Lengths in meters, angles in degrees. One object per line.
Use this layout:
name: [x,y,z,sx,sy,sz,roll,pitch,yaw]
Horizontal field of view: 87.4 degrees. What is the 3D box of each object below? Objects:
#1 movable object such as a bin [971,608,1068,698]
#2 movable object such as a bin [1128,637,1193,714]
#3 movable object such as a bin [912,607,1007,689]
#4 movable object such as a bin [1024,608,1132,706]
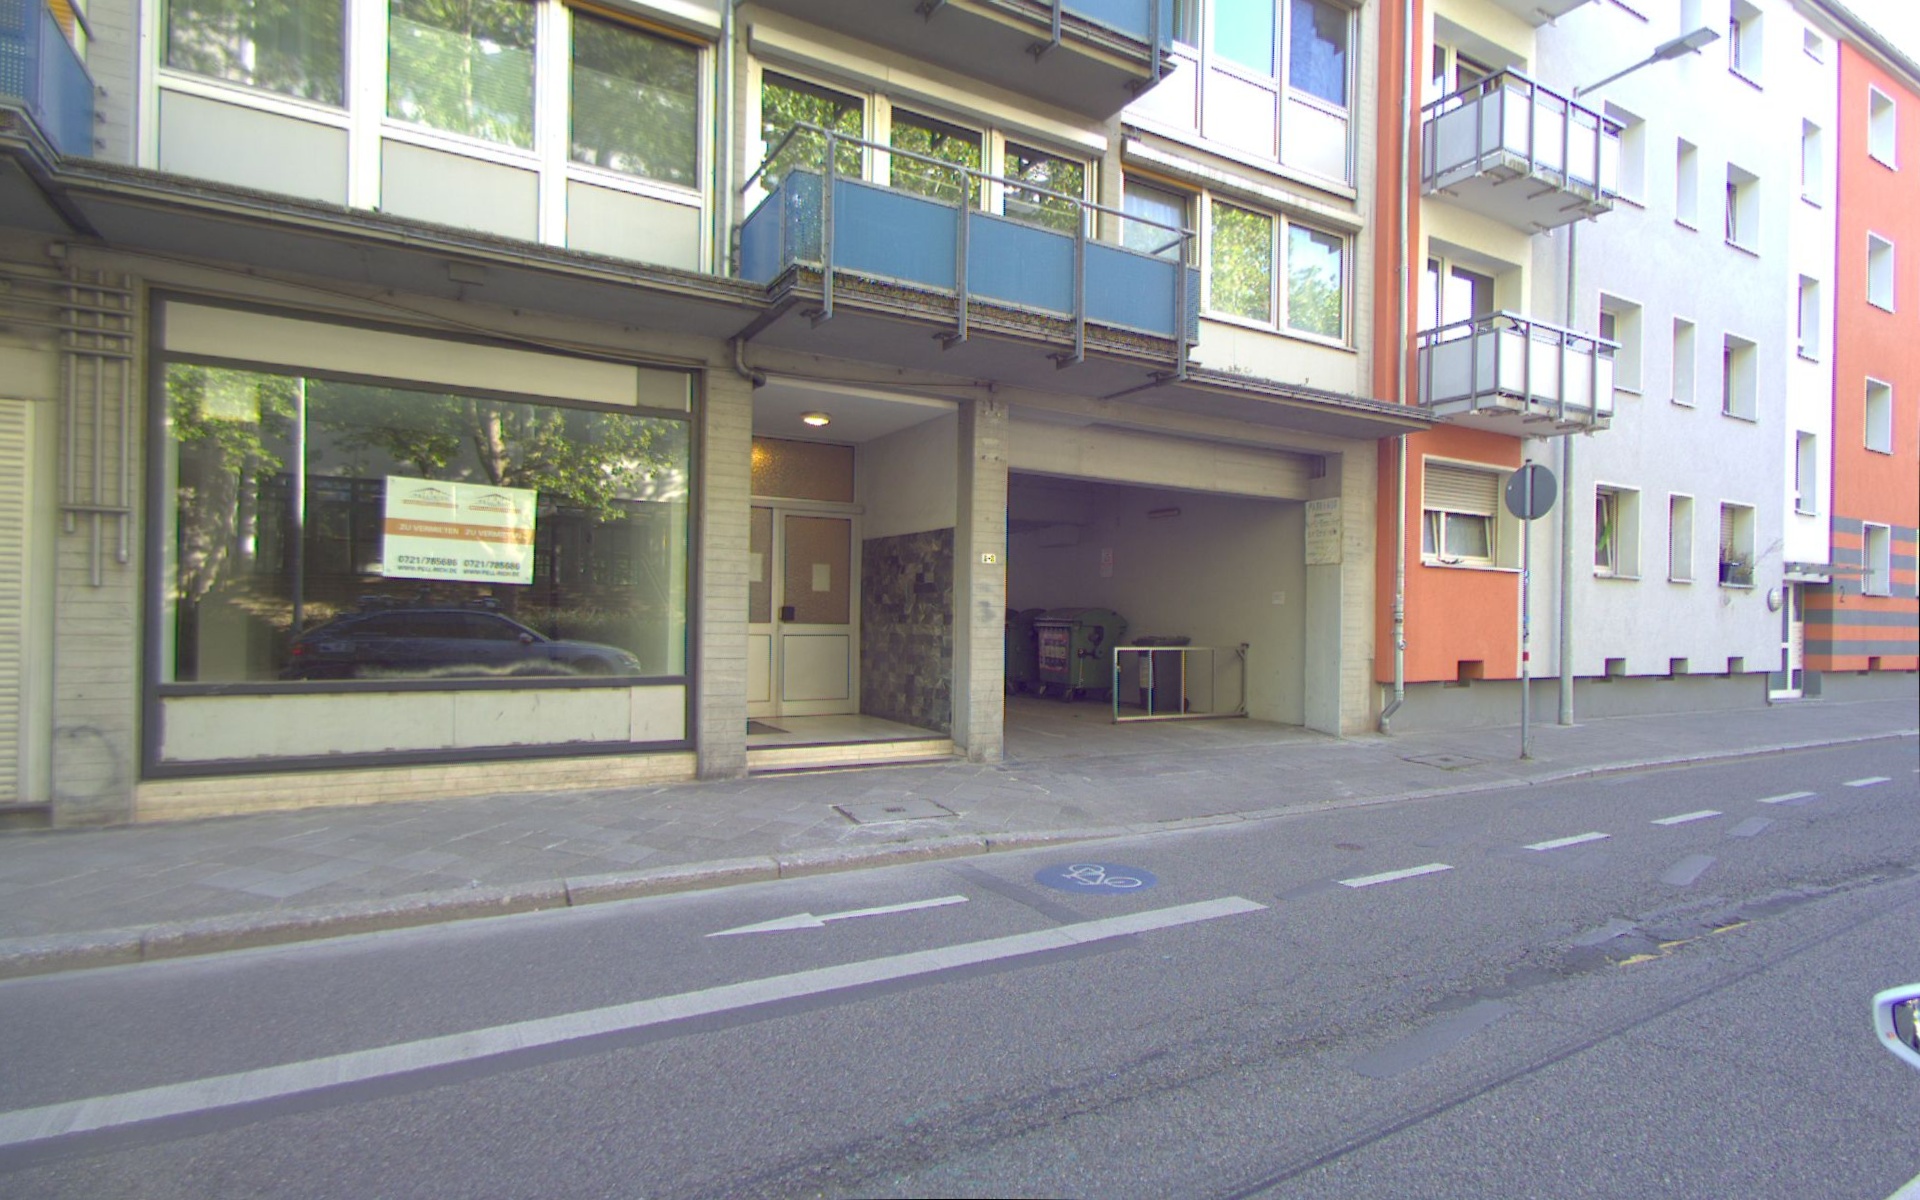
movable object such as a bin: [0.996,0.876,17.174,1.119,1.449,1.322,1,0,-28]
movable object such as a bin: [2.898,1.083,14.533,0.695,1.055,0.593,2,0,-30]
movable object such as a bin: [-0.031,0.874,18.877,1.119,1.449,1.666,1,-1,-28]
movable object such as a bin: [1.848,0.870,15.851,1.128,1.449,1.342,1,0,-28]
